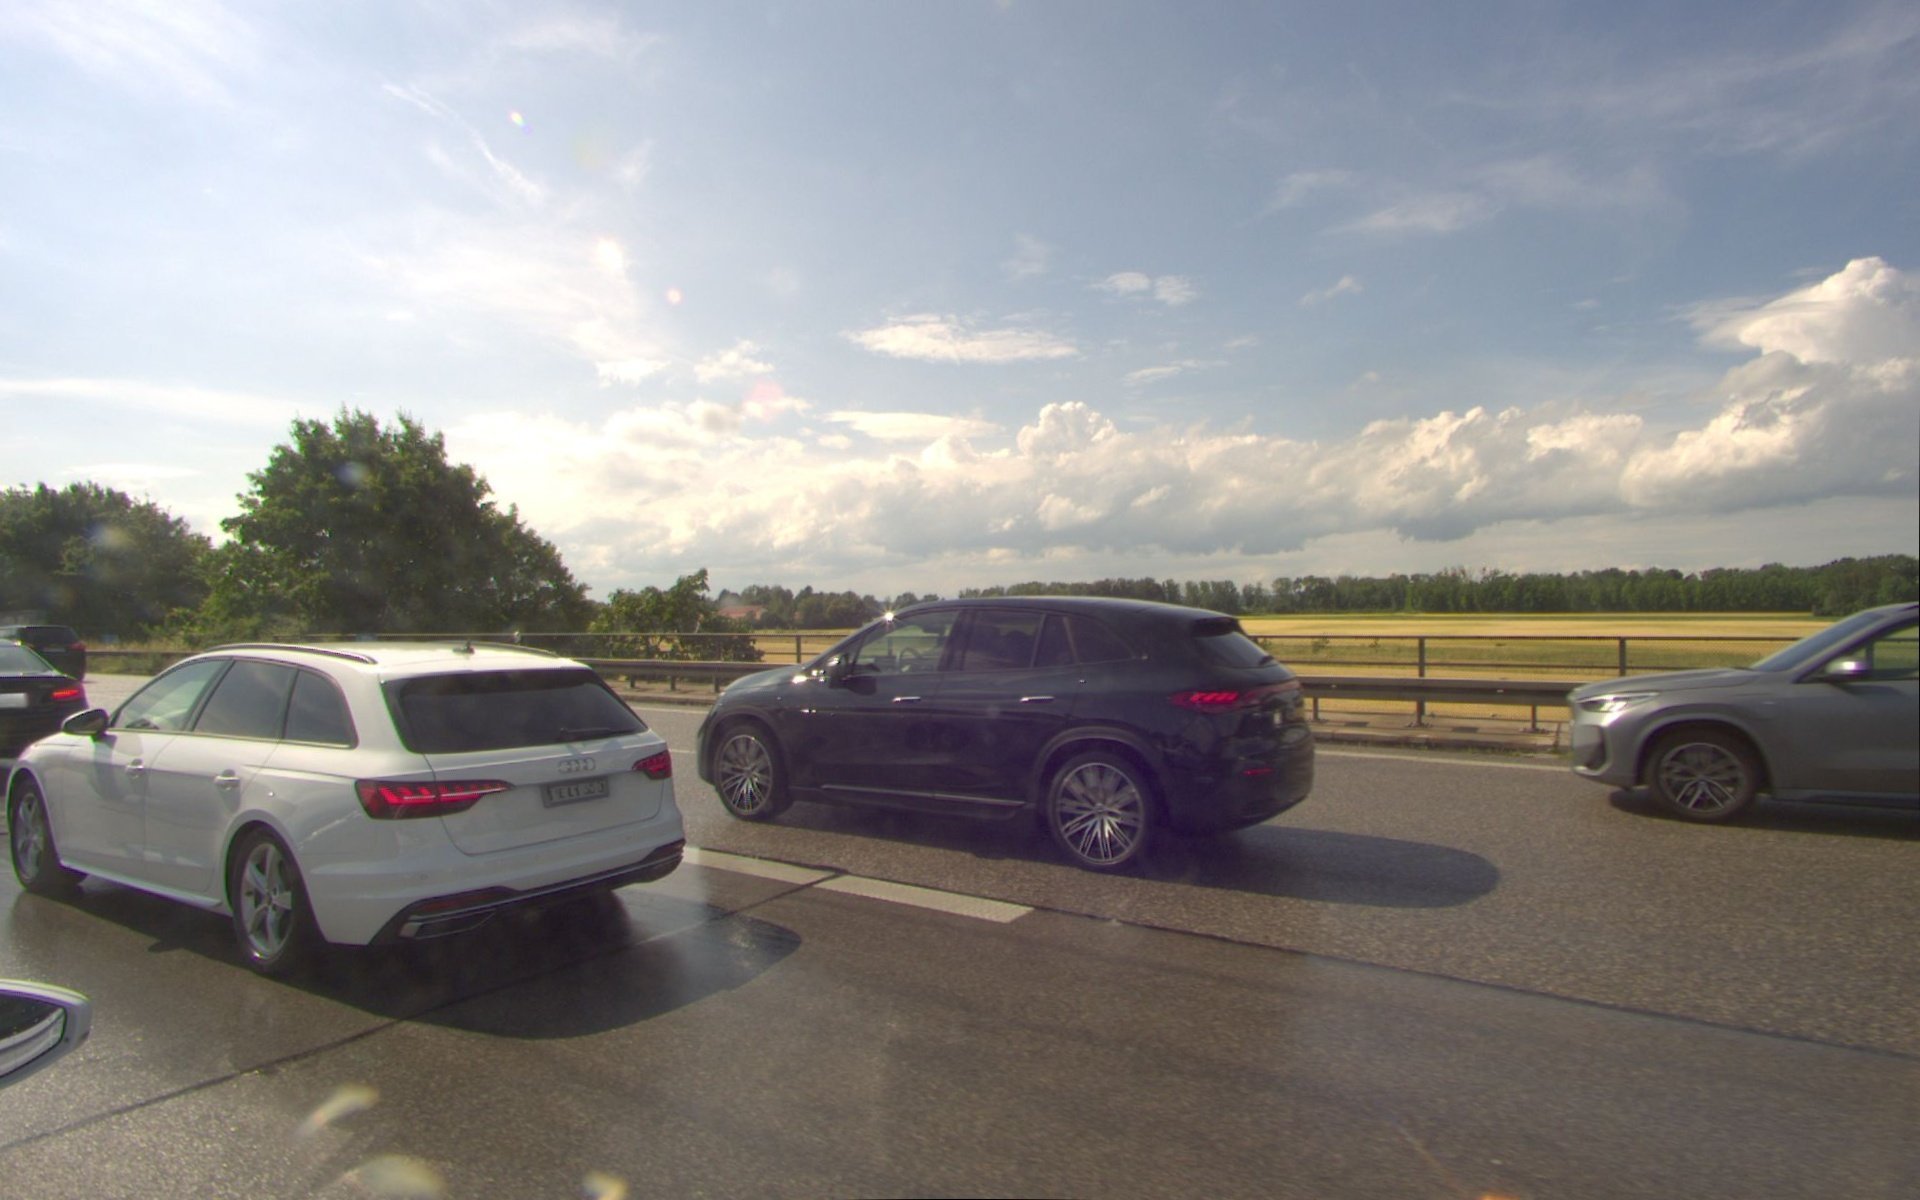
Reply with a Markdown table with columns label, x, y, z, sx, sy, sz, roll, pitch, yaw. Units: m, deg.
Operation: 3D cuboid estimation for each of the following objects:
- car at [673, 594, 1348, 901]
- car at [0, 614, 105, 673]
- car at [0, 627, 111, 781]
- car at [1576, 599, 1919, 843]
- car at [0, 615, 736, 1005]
| label | x | y | z | sx | sy | sz | roll | pitch | yaw |
| --- | --- | --- | --- | --- | --- | --- | --- | --- | --- |
| car | 0.224 | 0.820 | 7.338 | 4.588 | 1.601 | 1.989 | -1 | -1 | 33 |
| car | -27.188 | 1.256 | 29.566 | 4.303 | 1.641 | 1.817 | -1 | -2 | 33 |
| car | -11.194 | 1.064 | 10.835 | 4.194 | 1.483 | 1.845 | -1 | -1 | 32 |
| car | 6.952 | 0.817 | 7.212 | 4.228 | 1.606 | 1.745 | -1 | -2 | 34 |
| car | -3.550 | 0.909 | 5.677 | 4.446 | 1.443 | 1.825 | -2 | -4 | 31 |
